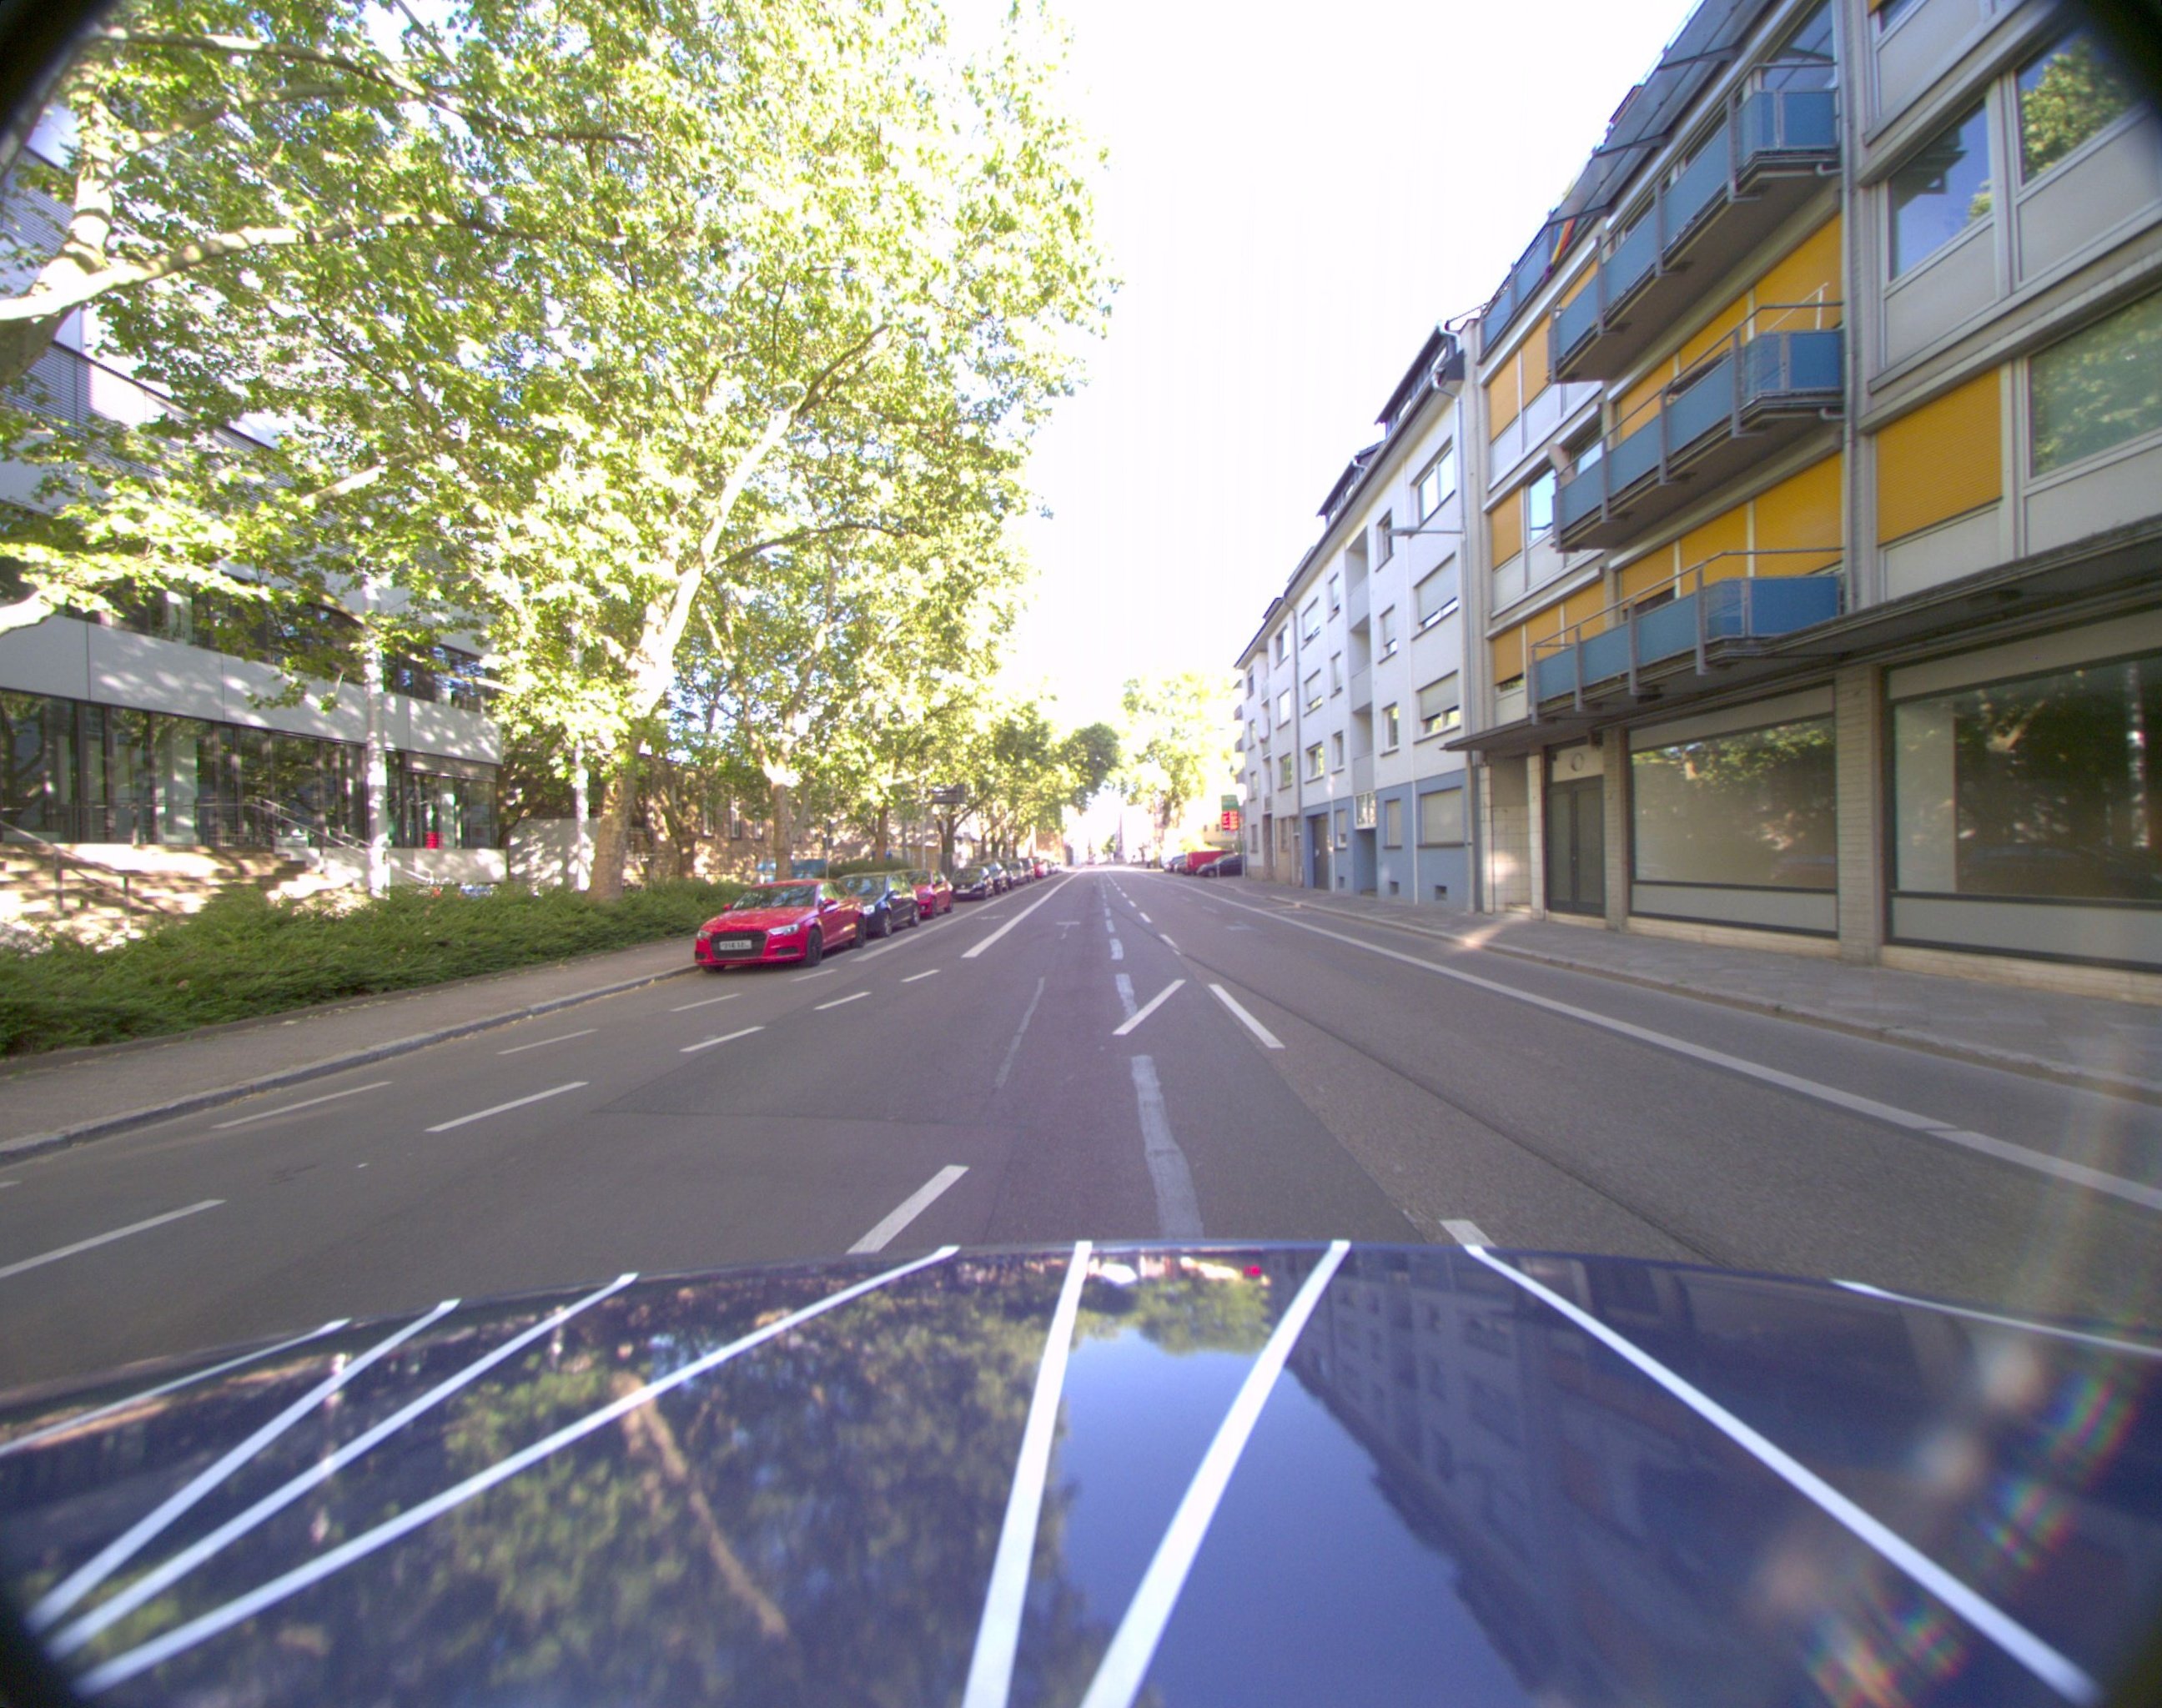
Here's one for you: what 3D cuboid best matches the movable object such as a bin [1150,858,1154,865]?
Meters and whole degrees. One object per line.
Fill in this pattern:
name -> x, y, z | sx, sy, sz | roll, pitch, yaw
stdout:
movable object such as a bin -> 10.720, 1.136, 114.900 | 0.595, 1.065, 0.644 | -1, 0, 1

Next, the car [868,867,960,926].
car -> -5.012, 1.231, 23.431 | 1.697, 1.470, 4.318 | -4, 0, 1

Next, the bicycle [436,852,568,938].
bicycle -> -14.052, 0.975, 18.487 | 2.604, 2.002, 0.742 | -1, 0, 1

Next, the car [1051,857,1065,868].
car -> -3.102, 1.109, 103.015 | 1.860, 1.428, 4.969 | -2, 0, -2

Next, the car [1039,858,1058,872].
car -> -3.607, 1.230, 85.868 | 1.860, 1.513, 4.599 | -3, 0, 1

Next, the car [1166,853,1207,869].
car -> 10.844, 0.731, 78.314 | 3.997, 1.424, 1.853 | -3, 0, 1

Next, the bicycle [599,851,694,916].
bicycle -> -13.945, 0.921, 24.421 | 2.604, 2.002, 0.742 | -1, 0, 1

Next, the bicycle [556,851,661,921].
bicycle -> -14.022, 0.940, 22.592 | 2.604, 2.002, 0.742 | -1, 0, 1

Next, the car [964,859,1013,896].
car -> -4.552, 1.125, 38.025 | 1.780, 1.618, 4.620 | -4, 0, 0

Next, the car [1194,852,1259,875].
car -> 10.418, 0.689, 54.566 | 4.239, 1.372, 2.046 | -3, 1, 1

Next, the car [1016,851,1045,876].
car -> -4.353, 0.803, 66.397 | 2.083, 1.982, 5.171 | -3, 0, -1

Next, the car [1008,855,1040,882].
car -> -4.109, 1.011, 55.059 | 1.697, 1.802, 4.130 | -4, 0, 3

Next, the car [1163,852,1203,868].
car -> 10.792, 0.641, 80.441 | 3.997, 1.550, 1.853 | -3, 0, 1

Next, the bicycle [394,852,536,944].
bicycle -> -14.004, 0.982, 17.319 | 2.604, 2.002, 0.742 | -1, 0, 1

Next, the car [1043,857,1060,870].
car -> -3.547, 1.147, 92.574 | 1.860, 1.514, 4.297 | -3, 0, 1

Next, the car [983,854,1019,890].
car -> -4.664, 1.014, 43.730 | 1.830, 1.830, 4.896 | -4, 0, -7

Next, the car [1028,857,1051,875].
car -> -3.854, 1.117, 71.239 | 1.641, 1.476, 3.760 | -4, 0, 3

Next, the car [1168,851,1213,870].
car -> 10.893, 0.633, 75.779 | 4.204, 1.674, 2.028 | -3, 0, 1

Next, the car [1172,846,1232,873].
car -> 9.899, 0.452, 62.548 | 4.533, 1.940, 2.057 | -4, 0, 1

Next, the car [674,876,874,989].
car -> -5.135, 1.219, 13.439 | 1.697, 1.441, 4.435 | -4, 0, -1

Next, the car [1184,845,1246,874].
car -> 10.464, 0.394, 59.781 | 4.432, 1.940, 2.146 | -4, 0, 1

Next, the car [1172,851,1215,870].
car -> 10.398, 0.576, 70.442 | 3.694, 1.504, 1.831 | -4, 0, 1

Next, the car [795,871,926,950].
car -> -5.060, 1.232, 18.007 | 1.697, 1.458, 4.066 | -4, 0, 2

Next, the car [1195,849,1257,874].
car -> 10.818, 0.583, 56.878 | 4.183, 1.554, 1.886 | -4, 0, 1

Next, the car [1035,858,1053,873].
car -> -3.904, 1.227, 80.270 | 1.617, 1.466, 3.493 | -4, 0, 0

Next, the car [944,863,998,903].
car -> -4.675, 1.190, 32.792 | 1.697, 1.495, 4.020 | -4, 0, -1

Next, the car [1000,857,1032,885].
car -> -4.277, 1.092, 50.308 | 1.697, 1.618, 4.329 | -4, 0, -1

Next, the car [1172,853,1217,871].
car -> 10.776, 0.767, 72.607 | 3.997, 1.447, 1.916 | -3, 0, 1

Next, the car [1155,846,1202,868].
car -> 10.905, 0.359, 85.000 | 4.856, 2.204, 2.140 | -3, 0, 1

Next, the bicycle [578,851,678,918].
bicycle -> -13.996, 0.932, 23.492 | 2.604, 2.002, 0.742 | -1, 0, 1
